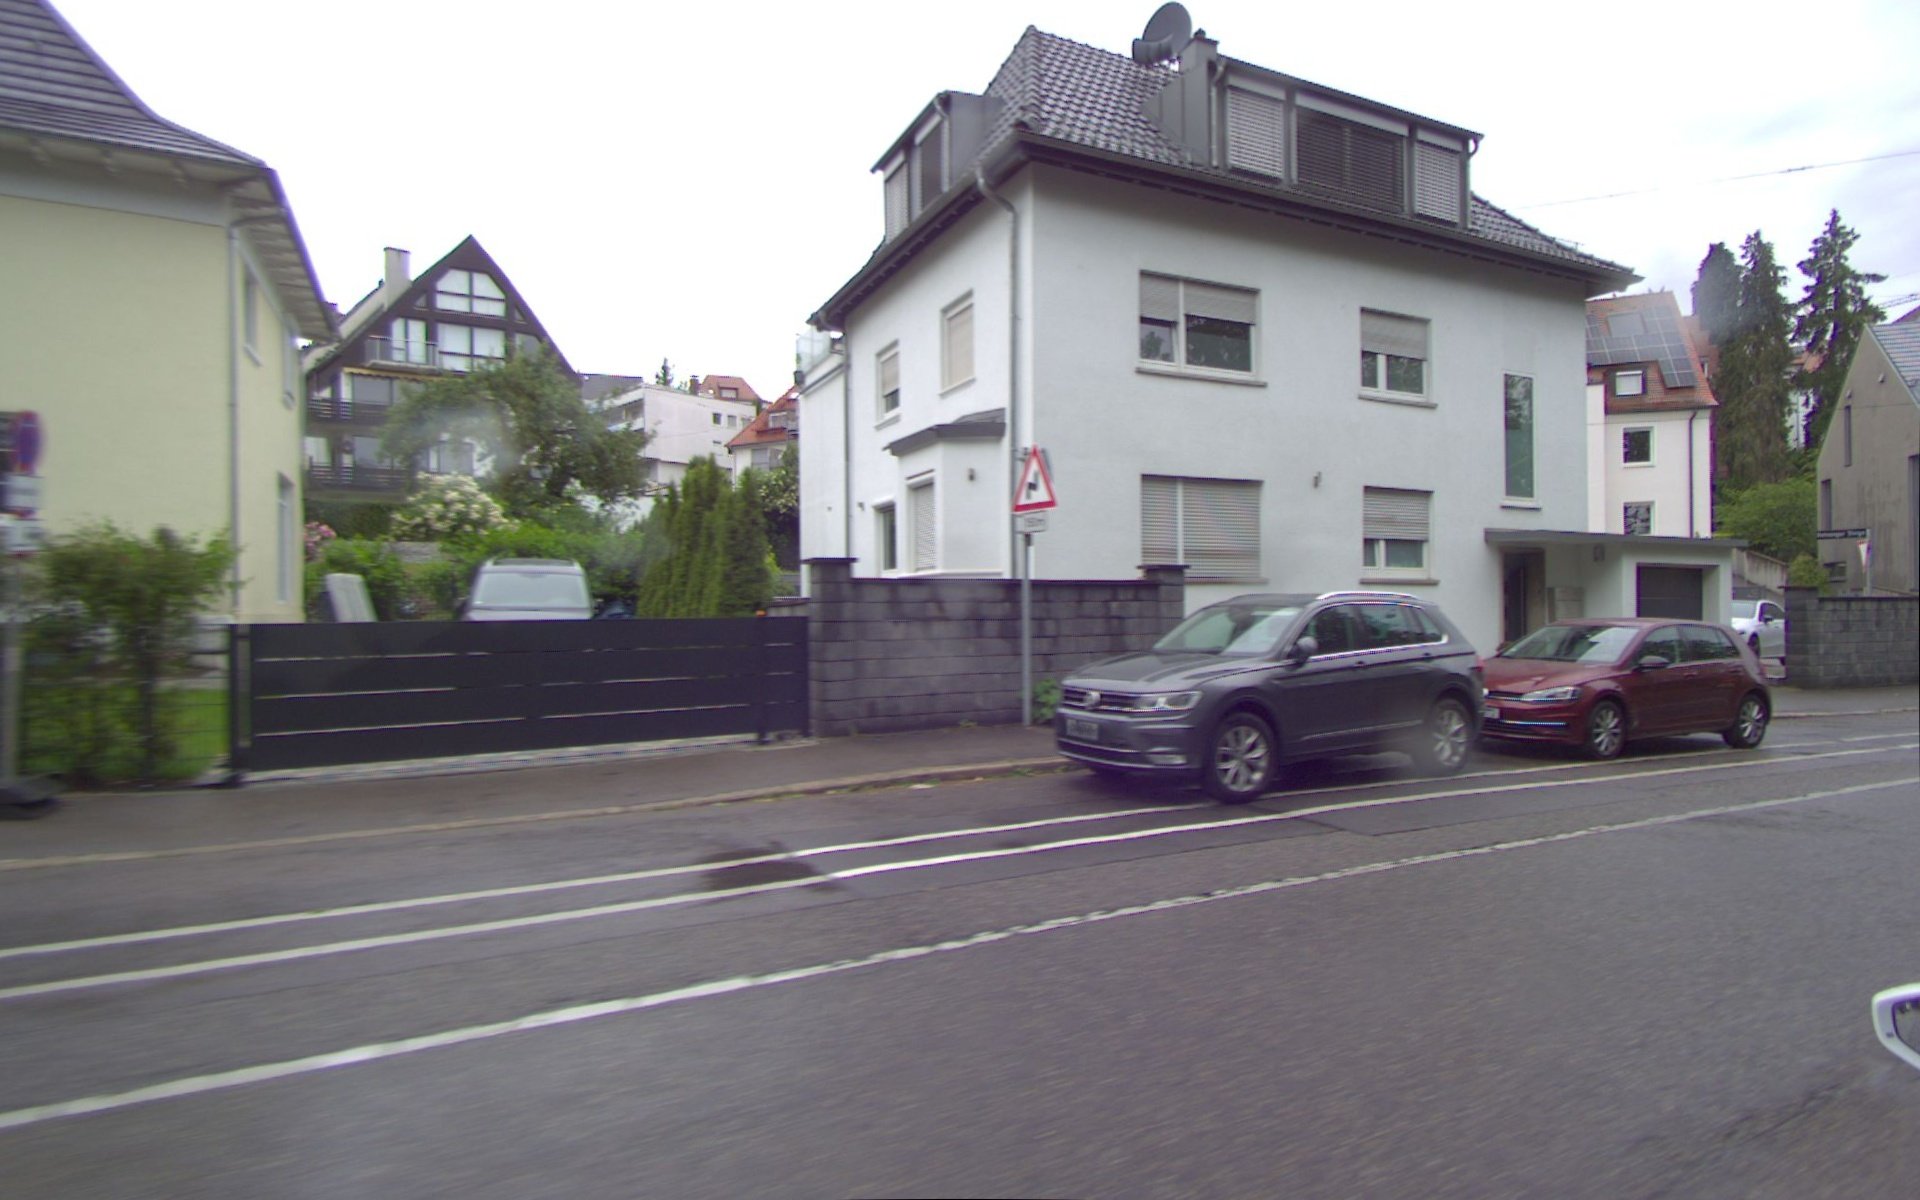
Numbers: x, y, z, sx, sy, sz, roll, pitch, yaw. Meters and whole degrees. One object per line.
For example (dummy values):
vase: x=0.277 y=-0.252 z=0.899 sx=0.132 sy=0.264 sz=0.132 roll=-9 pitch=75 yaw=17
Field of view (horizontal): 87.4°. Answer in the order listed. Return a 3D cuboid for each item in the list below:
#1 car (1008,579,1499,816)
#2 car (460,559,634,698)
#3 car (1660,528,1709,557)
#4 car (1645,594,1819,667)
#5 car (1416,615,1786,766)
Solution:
car: x=2.716 y=0.734 z=9.004 sx=4.354 sy=1.680 sz=1.746 roll=0 pitch=-2 yaw=-31
car: x=-5.850 y=0.302 z=13.944 sx=1.714 sy=1.617 sz=3.968 roll=2 pitch=1 yaw=-30
car: x=44.600 y=-3.501 z=61.896 sx=1.748 sy=1.483 sz=3.614 roll=0 pitch=-1 yaw=24
car: x=16.899 y=0.653 z=21.986 sx=3.572 sy=1.483 sz=1.768 roll=1 pitch=-1 yaw=-29
car: x=7.362 y=0.911 z=11.493 sx=4.173 sy=1.460 sz=1.611 roll=0 pitch=0 yaw=-25
